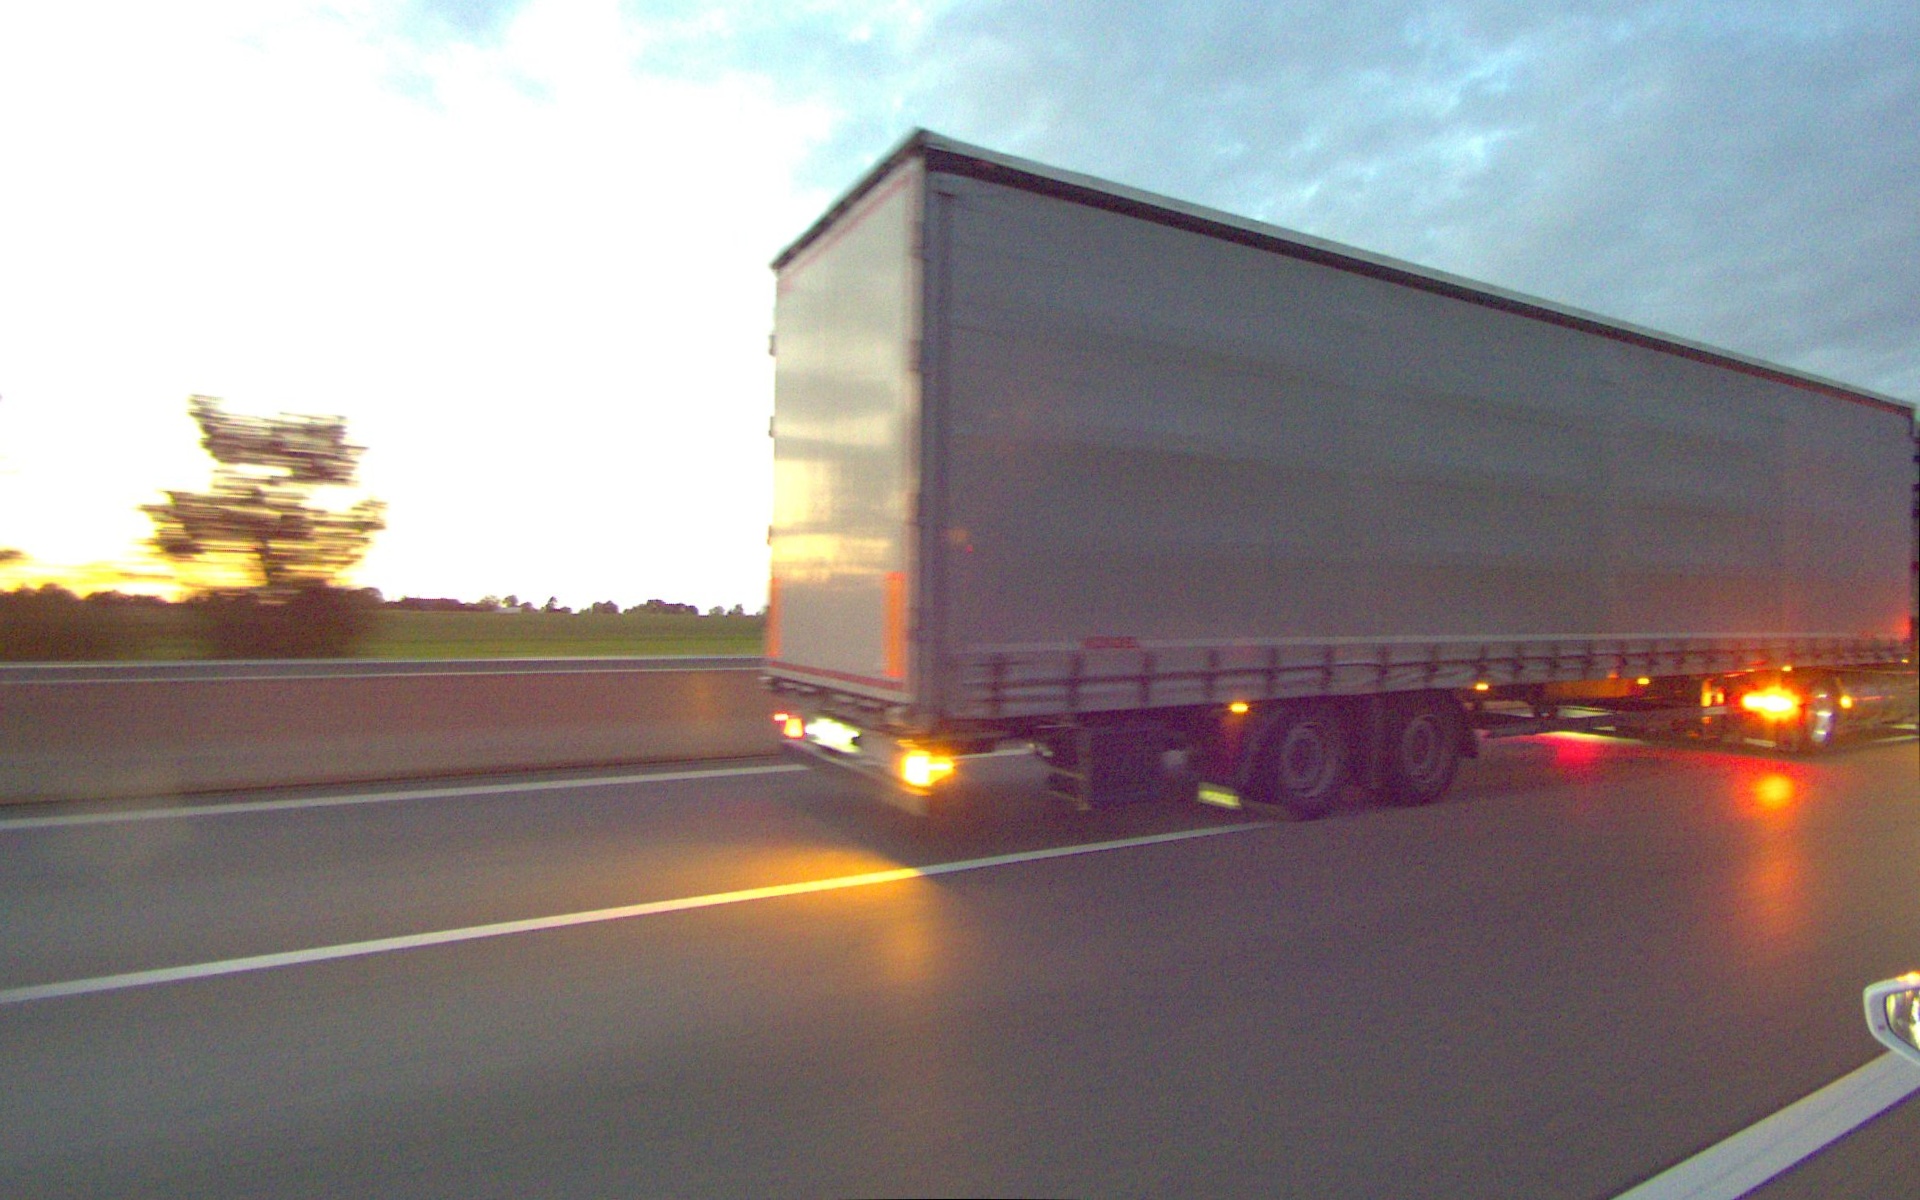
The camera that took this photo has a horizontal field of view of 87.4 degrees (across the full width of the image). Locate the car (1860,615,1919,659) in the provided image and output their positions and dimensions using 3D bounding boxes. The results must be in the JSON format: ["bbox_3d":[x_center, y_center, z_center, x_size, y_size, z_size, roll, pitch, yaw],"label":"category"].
[{"bbox_3d":[54.939,2.156,58.545,5.768,2.419,1.984,2,0,-30],"label":"car"}]

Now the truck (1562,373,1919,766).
[{"bbox_3d":[11.097,-0.211,13.302,6.030,4.146,2.765,2,-2,-30],"label":"truck"}]

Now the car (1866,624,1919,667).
[{"bbox_3d":[39.028,1.872,41.006,4.572,1.638,1.691,2,0,-30],"label":"car"}]

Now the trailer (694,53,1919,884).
[{"bbox_3d":[4.973,-0.419,9.774,14.352,4.139,2.781,2,-2,-30],"label":"trailer"}]

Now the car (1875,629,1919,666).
[{"bbox_3d":[40.388,1.990,41.921,4.604,1.431,1.984,2,0,-30],"label":"car"}]

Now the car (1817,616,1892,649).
[{"bbox_3d":[48.838,1.762,54.814,4.738,1.665,1.652,2,0,-30],"label":"car"}]
